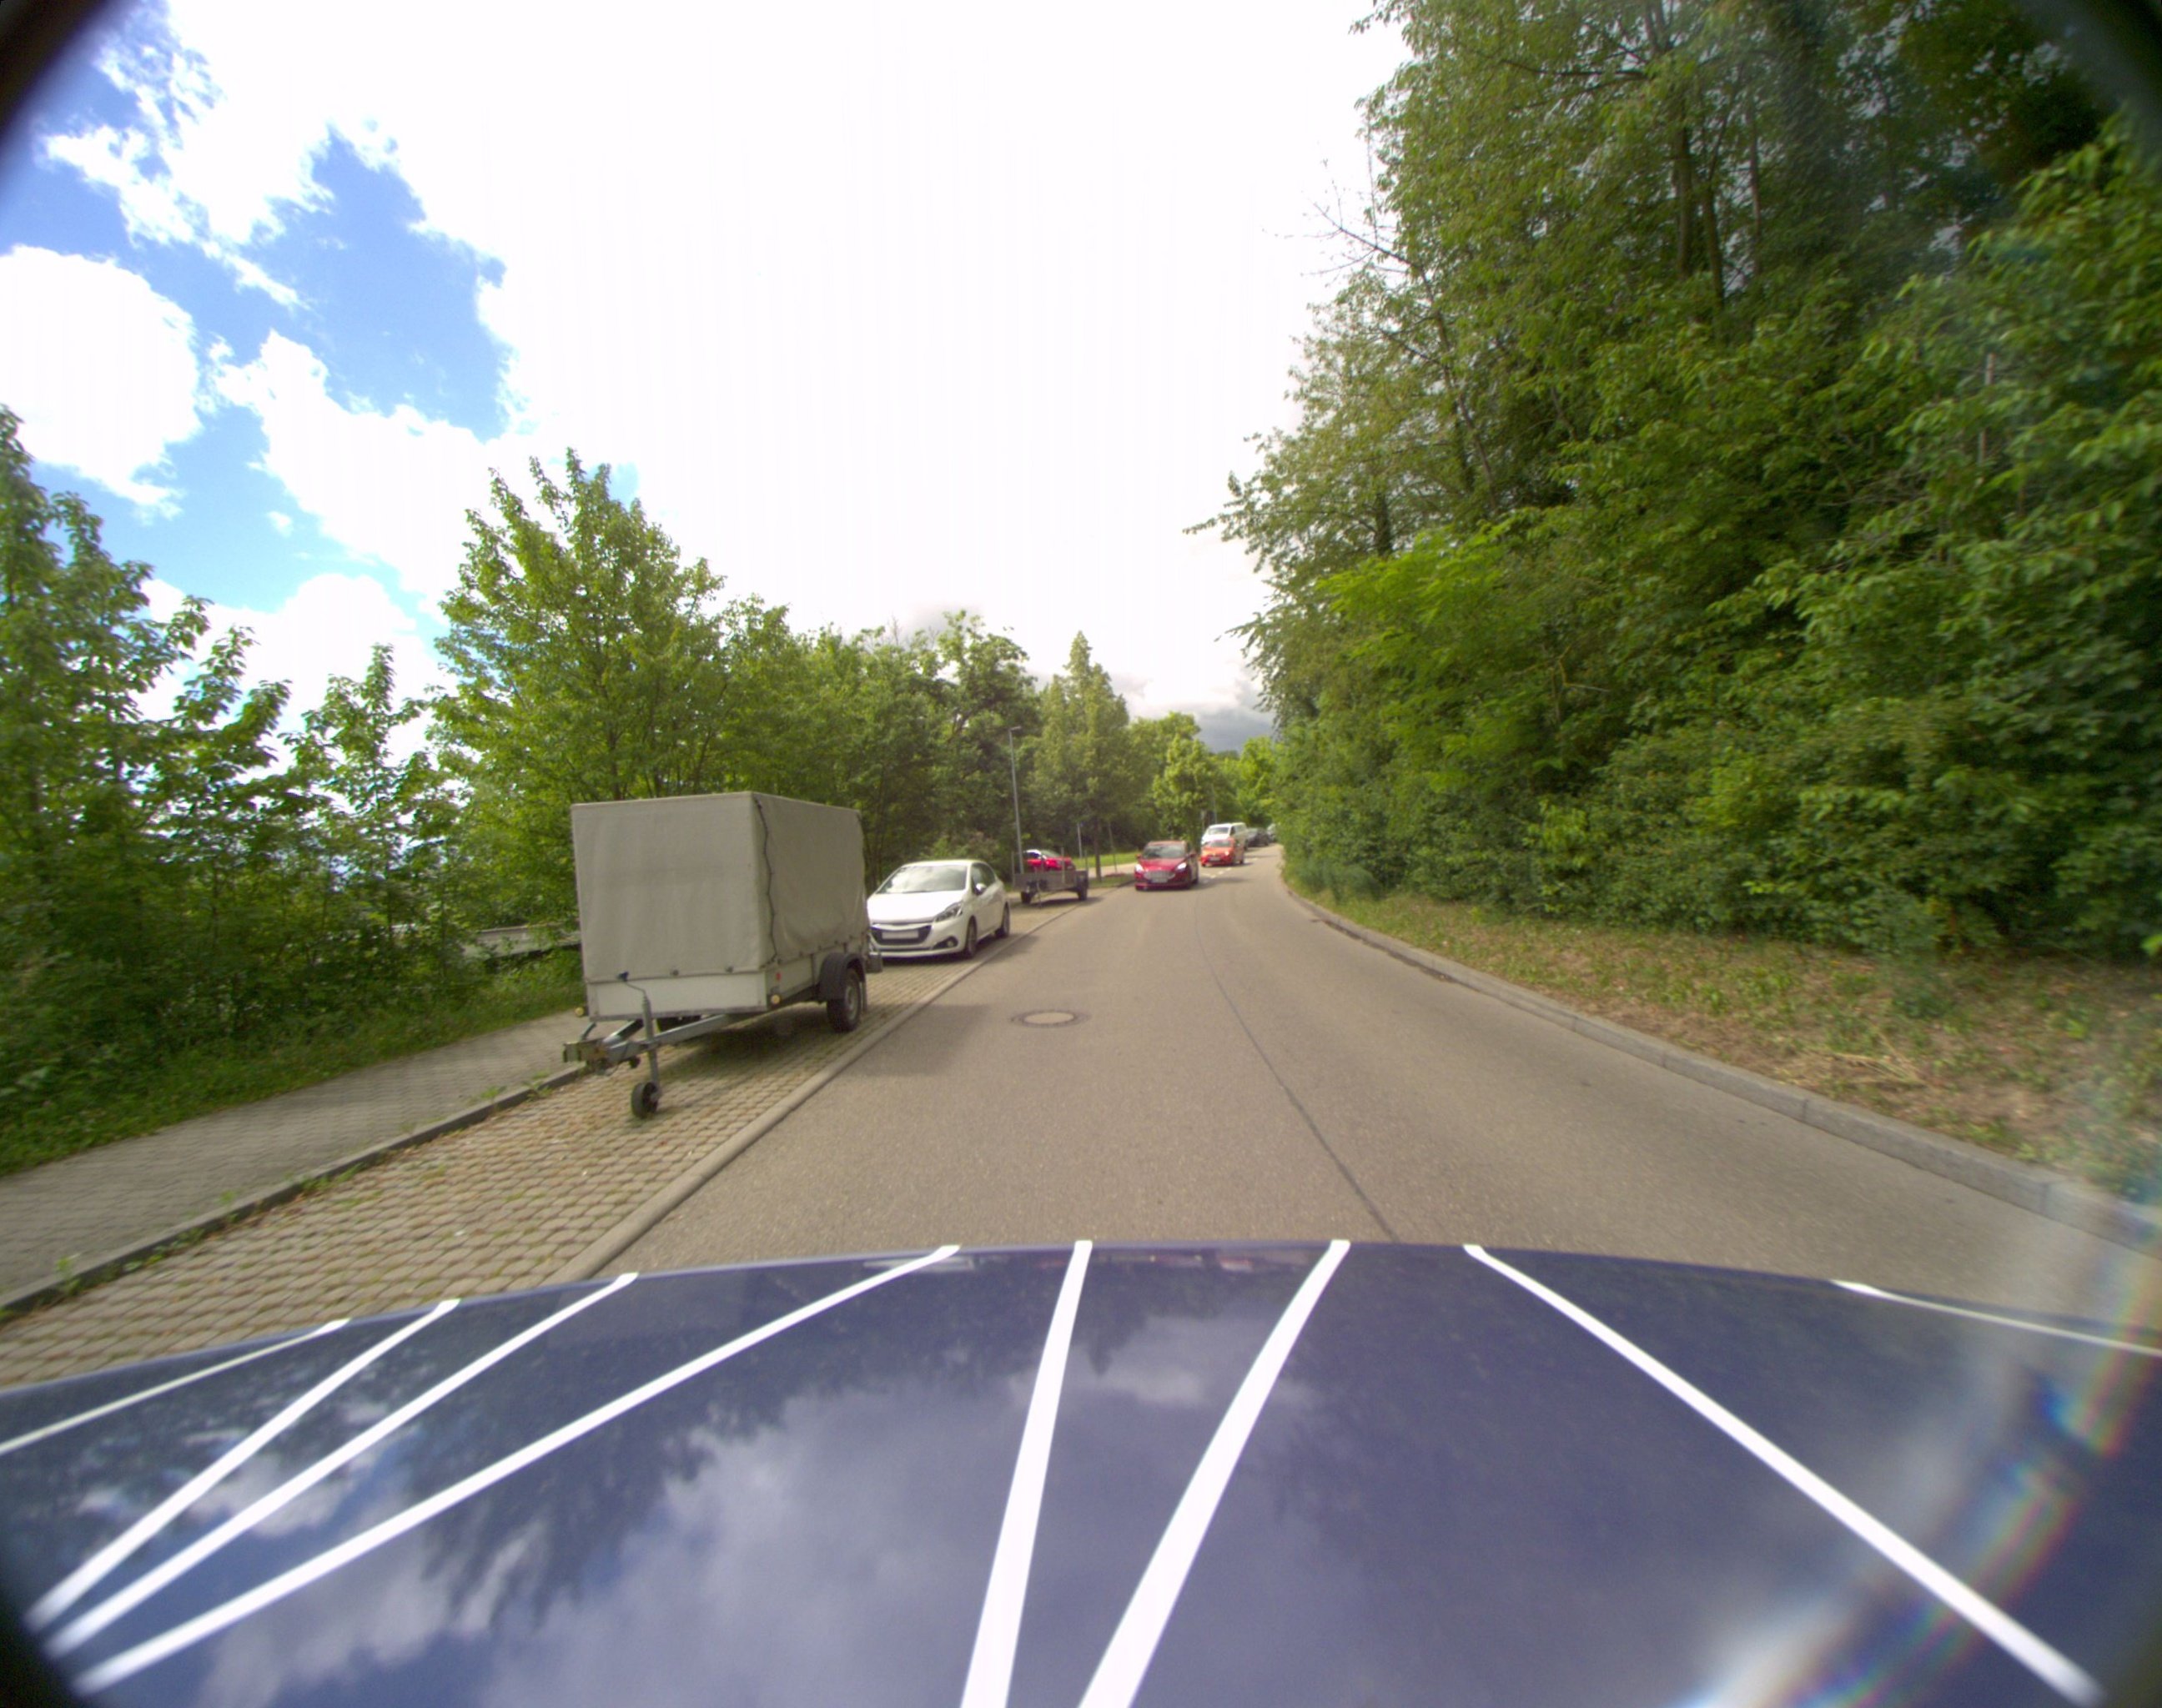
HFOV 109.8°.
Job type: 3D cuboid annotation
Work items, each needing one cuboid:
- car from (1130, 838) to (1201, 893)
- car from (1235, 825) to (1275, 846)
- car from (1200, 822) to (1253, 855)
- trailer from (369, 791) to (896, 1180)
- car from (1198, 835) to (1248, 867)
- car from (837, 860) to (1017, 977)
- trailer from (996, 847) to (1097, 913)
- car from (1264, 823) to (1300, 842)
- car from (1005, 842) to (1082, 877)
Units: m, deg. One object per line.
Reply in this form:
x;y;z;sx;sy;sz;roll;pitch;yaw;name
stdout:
3.065;0.350;26.792;1.910;1.689;4.390;-1;2;14;car
13.409;-1.440;58.428;1.792;1.405;4.111;-1;2;31;car
10.281;-1.112;53.225;1.866;2.047;5.435;-1;2;30;car
-2.902;0.698;6.024;1.734;2.066;3.783;-2;1;2;trailer
7.585;-0.192;40.345;1.793;1.405;4.117;-1;3;23;car
-2.292;0.914;12.364;1.709;1.468;3.784;-2;1;7;car
-0.841;0.649;21.616;1.813;1.570;4.492;-2;1;11;trailer
16.788;-1.801;63.267;1.792;1.405;4.111;-1;2;31;car
-1.916;0.302;38.791;3.479;1.509;1.654;-3;3;30;car
